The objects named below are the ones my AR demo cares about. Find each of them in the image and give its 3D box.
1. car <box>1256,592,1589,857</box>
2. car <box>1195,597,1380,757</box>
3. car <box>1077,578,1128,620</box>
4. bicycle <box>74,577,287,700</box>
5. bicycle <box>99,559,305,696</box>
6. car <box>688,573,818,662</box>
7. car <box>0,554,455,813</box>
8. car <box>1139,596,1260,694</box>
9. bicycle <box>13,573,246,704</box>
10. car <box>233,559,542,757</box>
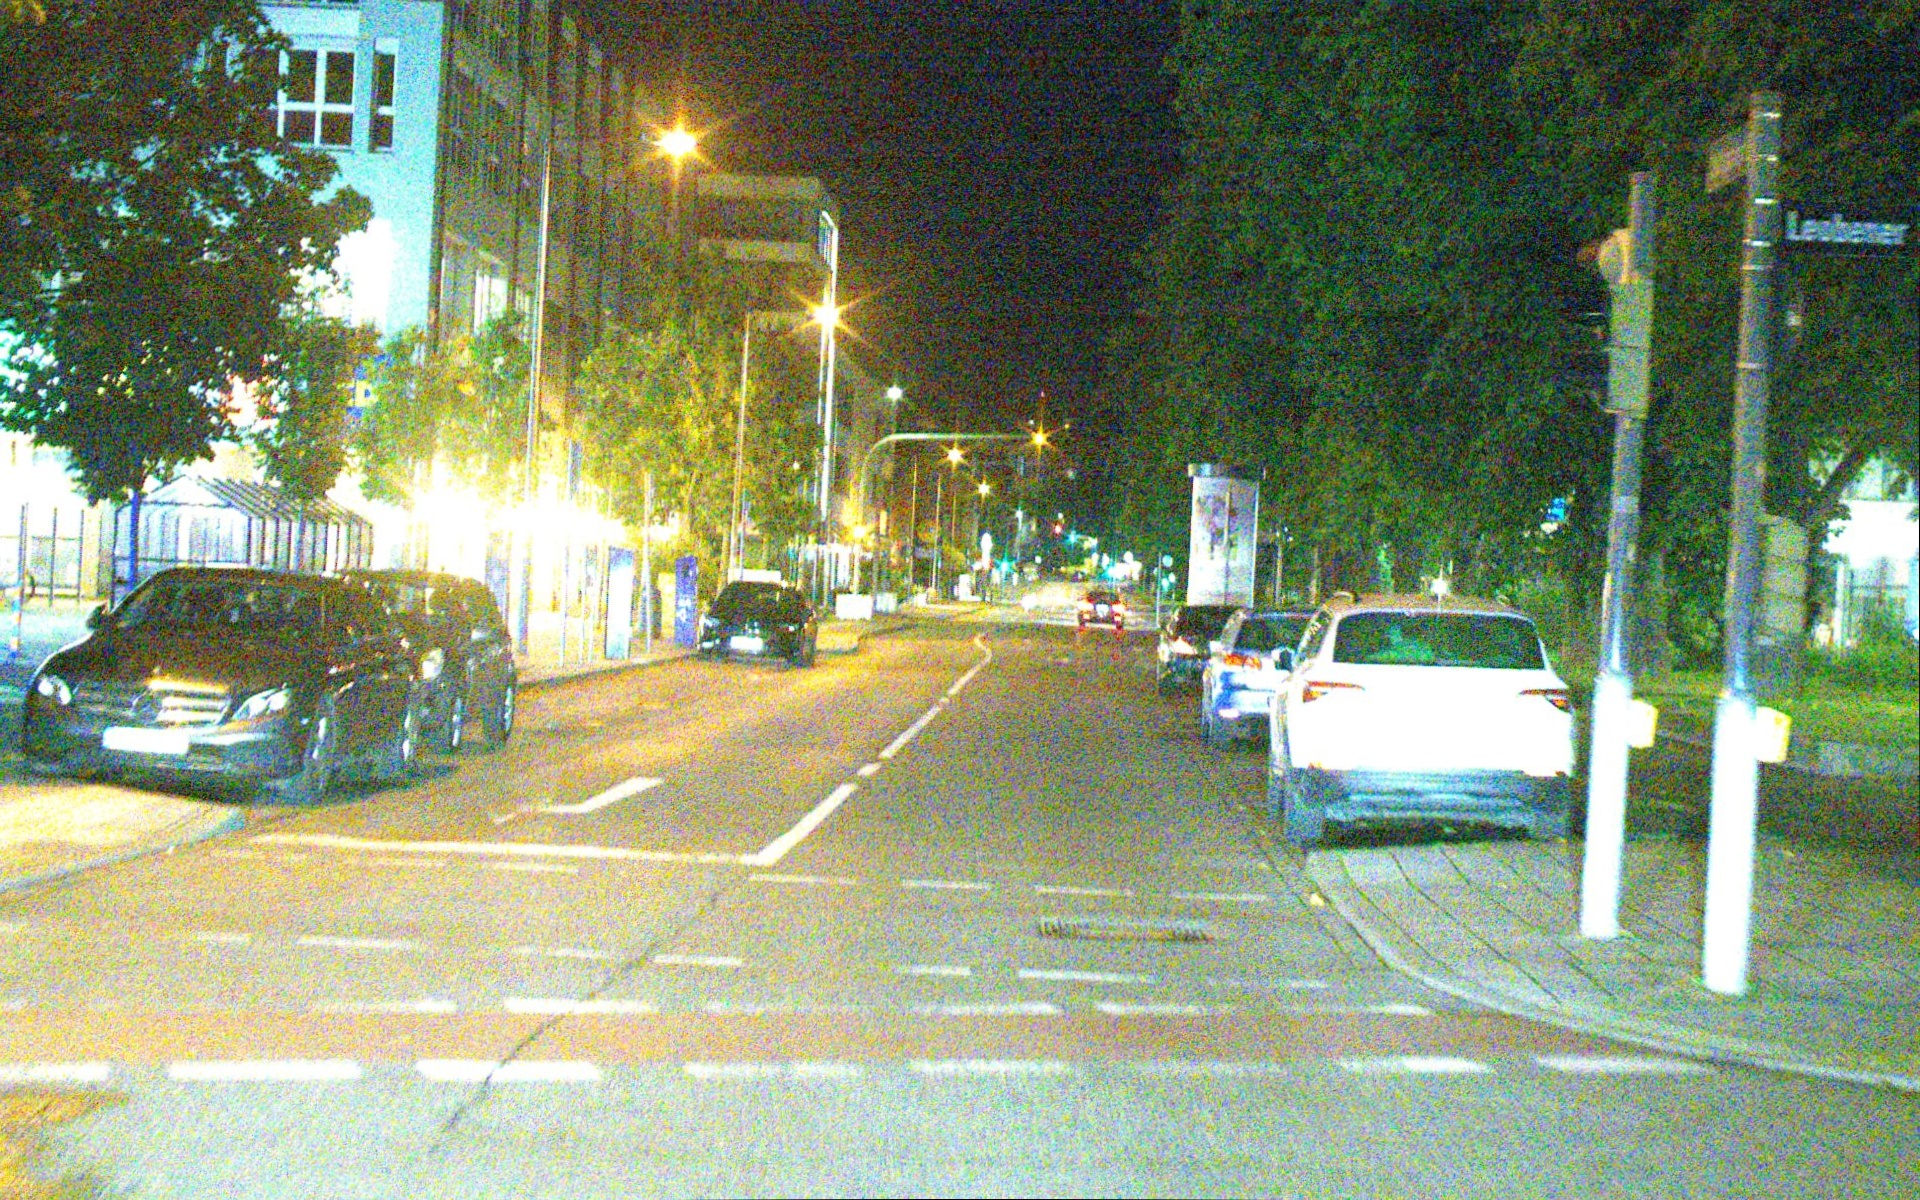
[{"bbox_3d":[2.942,0.737,22.643,1.770,1.531,4.216,1,0,2],"label":"car"},{"bbox_3d":[3.391,0.759,36.180,1.690,1.531,4.015,1,0,2],"label":"car"},{"bbox_3d":[5.812,-0.050,140.881,1.993,1.637,4.000,2,0,2],"label":"car"},{"bbox_3d":[-7.488,0.366,33.062,1.851,1.031,0.532,4,0,2],"label":"bicycle"},{"bbox_3d":[-7.425,0.265,33.705,1.851,1.249,0.532,3,0,2],"label":"bicycle"},{"bbox_3d":[-3.628,0.286,60.974,1.741,1.408,4.495,4,1,3],"label":"car"},{"bbox_3d":[-4.817,0.488,23.239,1.807,1.420,4.921,5,1,2],"label":"car"},{"bbox_3d":[3.779,0.682,54.862,1.764,1.409,4.807,2,1,3],"label":"car"},{"bbox_3d":[-7.306,0.332,30.262,1.851,0.996,0.532,5,0,2],"label":"bicycle"},{"bbox_3d":[-4.774,0.443,29.187,1.722,1.423,3.976,5,1,2],"label":"car"}]
